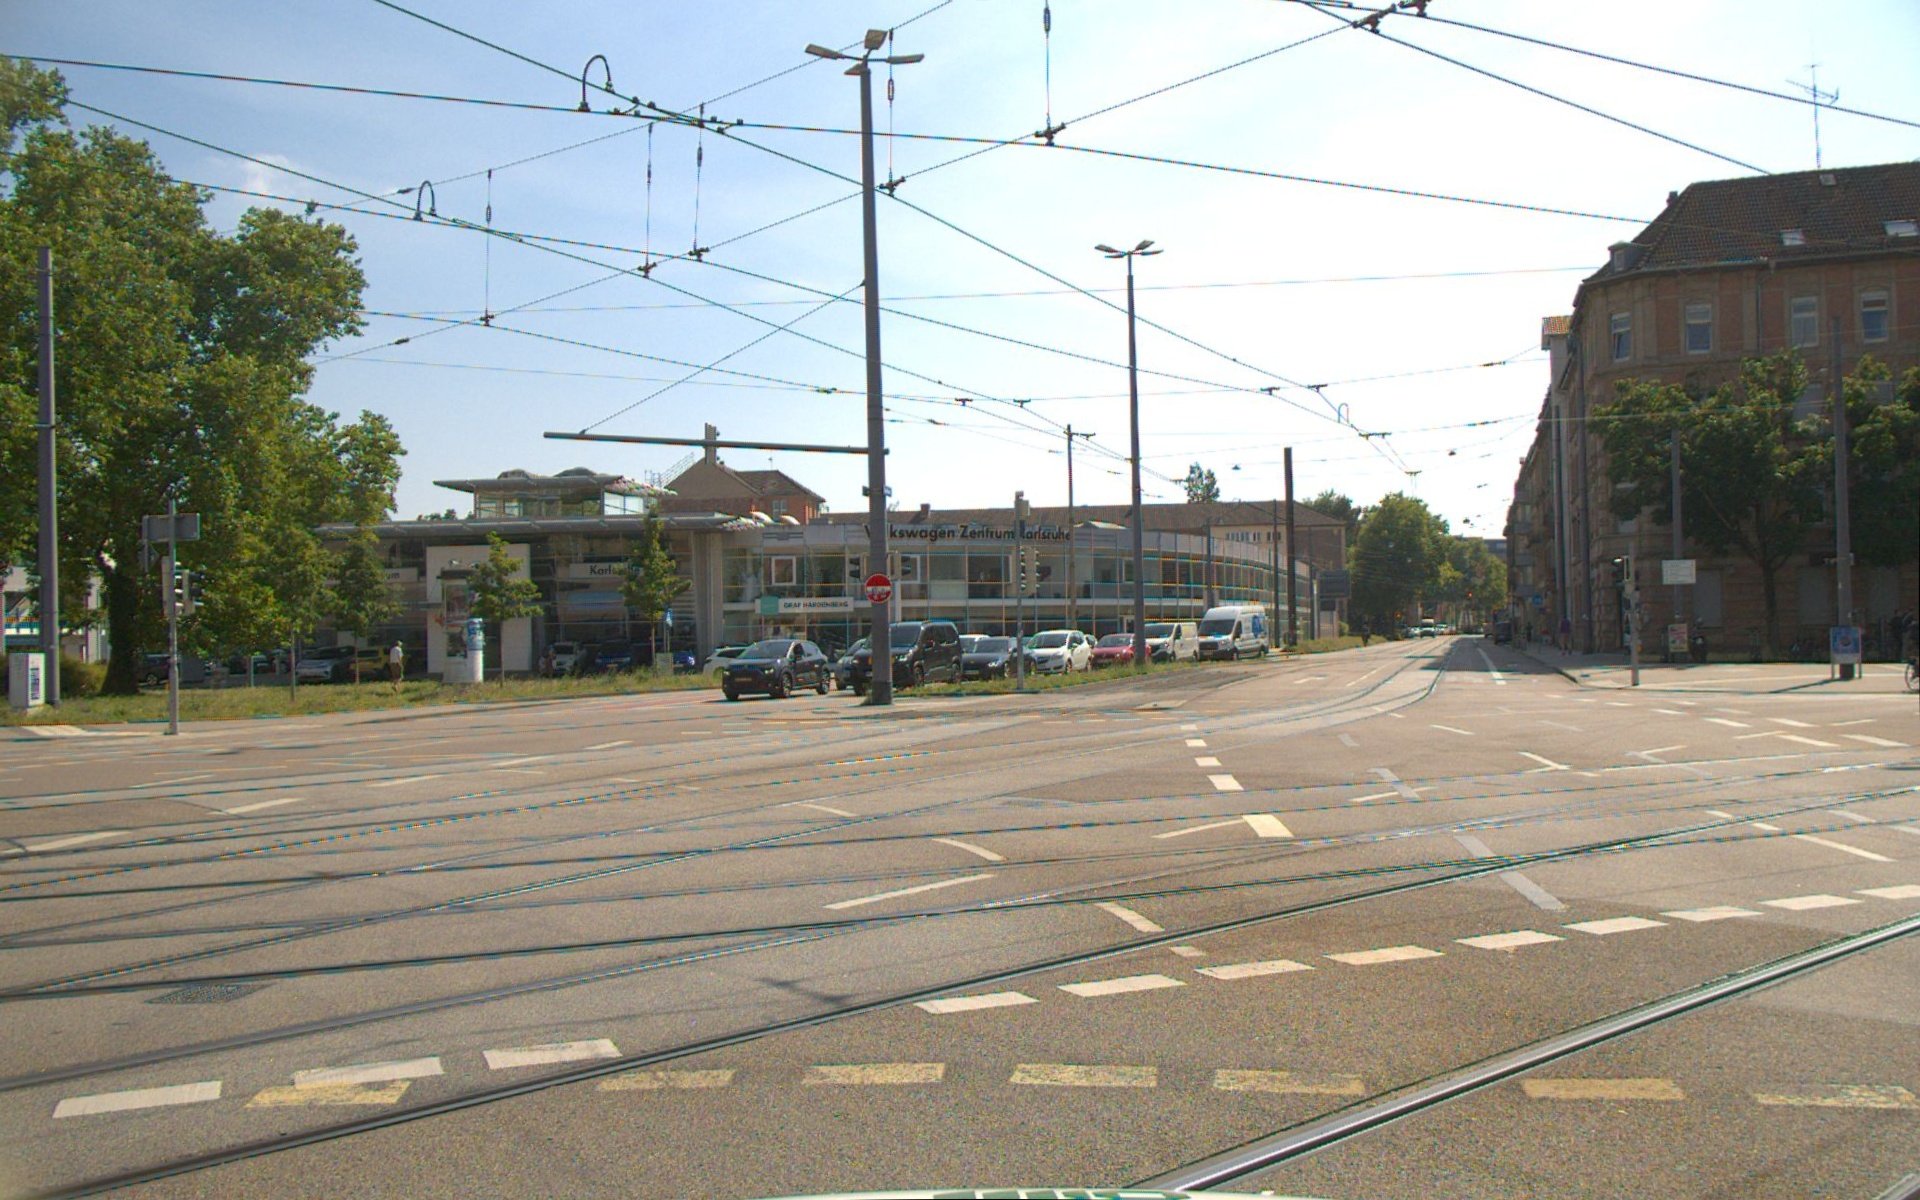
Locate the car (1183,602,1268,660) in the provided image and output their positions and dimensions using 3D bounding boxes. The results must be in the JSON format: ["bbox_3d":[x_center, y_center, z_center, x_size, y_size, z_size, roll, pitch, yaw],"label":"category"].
[{"bbox_3d":[12.668,1.500,78.532,2.166,2.621,5.865,0,-2,28],"label":"car"}]

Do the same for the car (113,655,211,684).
[{"bbox_3d":[-40.018,3.470,83.006,3.904,1.395,2.000,1,-2,2],"label":"car"}]

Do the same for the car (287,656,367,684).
[{"bbox_3d":[-31.206,3.437,81.646,1.951,1.266,4.002,0,-2,8],"label":"car"}]

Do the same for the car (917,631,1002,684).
[{"bbox_3d":[0.024,2.008,57.475,1.617,1.769,4.201,-2,-3,19],"label":"car"}]

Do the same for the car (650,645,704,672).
[{"bbox_3d":[-13.633,2.825,79.985,1.792,1.216,4.000,1,-2,2],"label":"car"}]

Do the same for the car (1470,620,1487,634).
[{"bbox_3d":[76.791,3.954,244.899,1.953,2.049,3.999,-2,-1,22],"label":"car"}]

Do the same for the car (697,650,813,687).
[{"bbox_3d":[-8.339,2.773,67.244,4.487,1.461,1.445,0,-2,17],"label":"car"}]

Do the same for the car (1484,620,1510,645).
[{"bbox_3d":[46.345,2.824,142.720,2.064,2.049,4.002,0,-2,17],"label":"car"}]

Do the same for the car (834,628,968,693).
[{"bbox_3d":[-1.499,1.619,44.014,1.920,1.616,4.716,-2,-3,20],"label":"car"}]

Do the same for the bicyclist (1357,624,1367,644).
[{"bbox_3d":[32.782,2.768,134.735,0.736,1.595,1.087,0,-2,16],"label":"bicyclist"}]

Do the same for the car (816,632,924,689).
[{"bbox_3d":[-2.677,1.851,50.271,1.855,1.616,4.000,-2,-3,20],"label":"car"}]

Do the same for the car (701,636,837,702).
[{"bbox_3d":[-4.948,1.814,43.445,1.852,1.616,4.210,-2,-3,20],"label":"car"}]

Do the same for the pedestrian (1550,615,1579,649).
[{"bbox_3d":[25.888,1.371,70.867,0.704,1.458,0.876,0,-2,-34],"label":"pedestrian"}]

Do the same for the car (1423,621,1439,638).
[{"bbox_3d":[65.732,4.095,230.768,1.793,2.252,4.001,-2,-1,19],"label":"car"}]

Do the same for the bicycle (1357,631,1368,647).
[{"bbox_3d":[32.784,3.178,134.735,0.736,1.215,2.840,0,-2,16],"label":"bicycle"}]

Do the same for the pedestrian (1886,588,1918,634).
[{"bbox_3d":[30.402,0.369,53.398,0.607,1.458,0.704,2,-3,-35],"label":"pedestrian"}]

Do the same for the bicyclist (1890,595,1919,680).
[{"bbox_3d":[21.422,0.838,36.687,0.913,1.852,1.045,1,-2,-21],"label":"bicyclist"}]

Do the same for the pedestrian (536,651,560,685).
[{"bbox_3d":[-19.135,3.159,76.882,0.934,1.608,0.534,1,-2,-1],"label":"pedestrian"}]

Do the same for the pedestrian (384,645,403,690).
[{"bbox_3d":[-20.525,2.439,59.907,0.384,1.624,0.463,0,-2,26],"label":"pedestrian"}]

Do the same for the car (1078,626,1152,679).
[{"bbox_3d":[6.068,2.070,64.423,1.855,1.950,4.201,-2,-3,19],"label":"car"}]

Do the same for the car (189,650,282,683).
[{"bbox_3d":[-37.625,3.427,85.945,3.904,1.579,2.000,-1,-1,1],"label":"car"}]

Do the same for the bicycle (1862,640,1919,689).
[{"bbox_3d":[21.417,1.428,36.528,0.913,1.088,2.730,1,-2,-20],"label":"bicycle"}]

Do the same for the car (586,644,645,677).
[{"bbox_3d":[-16.734,2.939,80.515,1.952,1.512,4.000,1,-2,1],"label":"car"}]

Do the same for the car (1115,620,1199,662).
[{"bbox_3d":[8.552,1.738,71.383,2.142,1.710,5.025,-2,-2,25],"label":"car"}]

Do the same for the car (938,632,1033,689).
[{"bbox_3d":[0.832,1.859,50.458,1.854,1.616,4.002,-2,-3,17],"label":"car"}]

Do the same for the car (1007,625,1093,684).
[{"bbox_3d":[3.170,1.903,57.653,1.855,1.950,4.201,-2,-3,19],"label":"car"}]

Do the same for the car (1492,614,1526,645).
[{"bbox_3d":[37.694,2.058,113.564,1.951,2.049,4.002,0,-2,14],"label":"car"}]

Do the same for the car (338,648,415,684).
[{"bbox_3d":[-28.879,3.252,81.940,1.951,1.713,4.002,0,-2,8],"label":"car"}]

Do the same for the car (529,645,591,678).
[{"bbox_3d":[-19.457,2.968,80.670,1.952,1.512,4.000,-1,-1,1],"label":"car"}]

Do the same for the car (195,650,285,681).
[{"bbox_3d":[-38.567,3.512,88.664,3.904,1.534,2.000,-1,-1,1],"label":"car"}]
